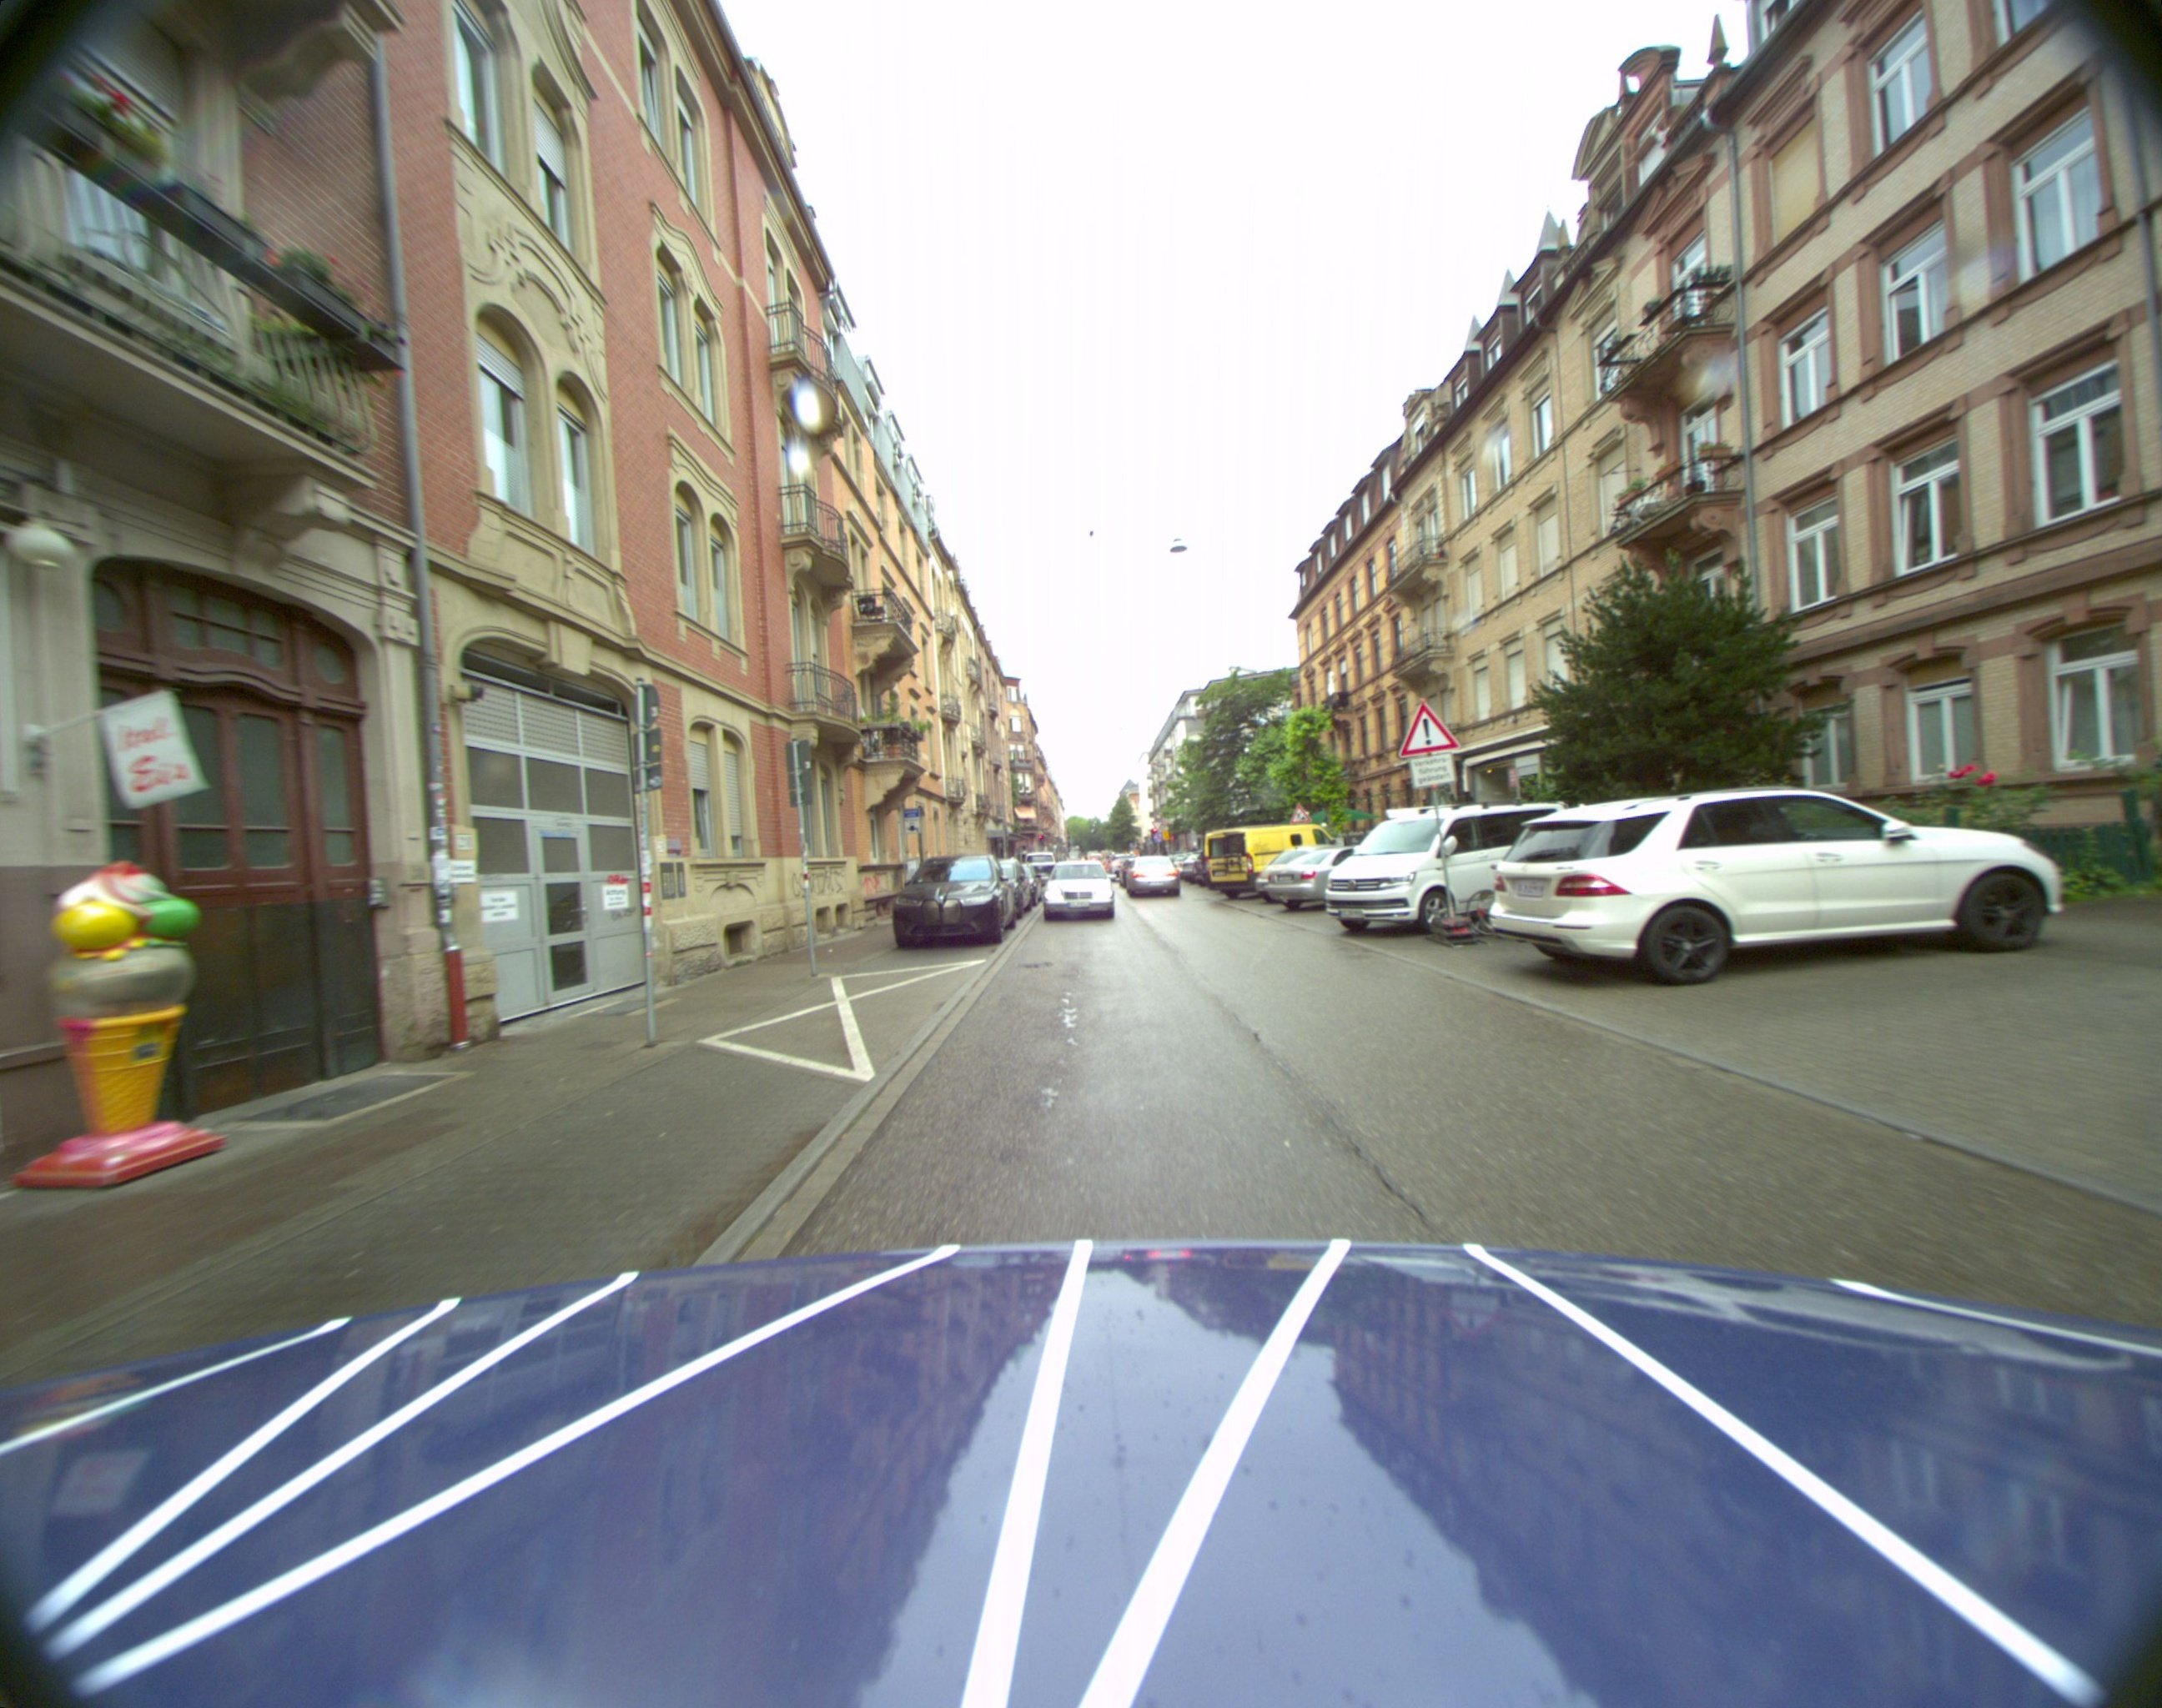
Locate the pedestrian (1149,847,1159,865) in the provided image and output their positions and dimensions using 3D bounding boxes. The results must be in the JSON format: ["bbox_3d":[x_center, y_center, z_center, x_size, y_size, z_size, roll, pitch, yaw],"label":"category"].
[{"bbox_3d":[7.752,0.191,80.831,0.862,1.837,0.770,-4,0,9],"label":"pedestrian"}]

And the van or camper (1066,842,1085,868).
[{"bbox_3d":[-0.833,0.164,107.794,2.411,3.308,7.073,-4,0,-1],"label":"van or camper"}]

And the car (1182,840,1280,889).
[{"bbox_3d":[6.626,0.439,33.385,4.143,1.653,1.797,-7,3,-36],"label":"car"}]

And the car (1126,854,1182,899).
[{"bbox_3d":[2.715,0.838,29.119,1.799,1.485,4.584,-4,-1,2],"label":"car"}]

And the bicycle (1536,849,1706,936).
[{"bbox_3d":[7.996,0.568,11.372,0.408,1.168,2.040,-4,0,-30],"label":"bicycle"}]

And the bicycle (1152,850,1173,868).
[{"bbox_3d":[5.228,0.324,48.805,0.400,1.137,1.679,-5,1,-25],"label":"bicycle"}]

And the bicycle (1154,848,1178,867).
[{"bbox_3d":[5.492,0.258,49.044,0.588,1.137,1.679,-5,1,-28],"label":"bicycle"}]

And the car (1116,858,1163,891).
[{"bbox_3d":[2.797,1.012,37.412,1.800,1.484,4.138,2,-2,-2],"label":"car"}]

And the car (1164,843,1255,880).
[{"bbox_3d":[7.164,0.416,42.195,4.731,1.554,1.996,-6,0,-33],"label":"car"}]

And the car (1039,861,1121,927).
[{"bbox_3d":[0.023,0.967,20.503,1.859,1.390,4.980,-3,0,1],"label":"car"}]

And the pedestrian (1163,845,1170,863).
[{"bbox_3d":[8.956,0.040,79.738,0.604,1.837,0.770,-4,0,9],"label":"pedestrian"}]

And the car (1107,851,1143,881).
[{"bbox_3d":[2.655,0.728,46.833,1.863,1.650,5.008,-3,0,0],"label":"car"}]

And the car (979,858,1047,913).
[{"bbox_3d":[-2.248,1.015,26.219,1.791,1.458,4.482,-3,2,1],"label":"car"}]

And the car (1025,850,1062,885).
[{"bbox_3d":[-2.208,0.753,45.598,1.999,1.927,5.229,-2,0,-2],"label":"car"}]

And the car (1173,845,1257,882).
[{"bbox_3d":[6.994,0.473,39.567,4.143,1.485,1.797,-7,3,-35],"label":"car"}]

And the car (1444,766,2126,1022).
[{"bbox_3d":[6.739,0.347,7.875,4.590,1.775,2.545,-6,0,0],"label":"car"}]

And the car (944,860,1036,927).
[{"bbox_3d":[-2.389,0.985,20.992,1.876,1.552,4.345,-2,0,1],"label":"car"}]

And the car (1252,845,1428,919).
[{"bbox_3d":[6.392,0.642,18.702,4.005,1.427,1.781,-4,1,-28],"label":"car"}]

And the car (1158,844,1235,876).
[{"bbox_3d":[7.158,0.374,47.015,4.464,1.555,1.995,-6,3,-36],"label":"car"}]

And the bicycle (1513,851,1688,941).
[{"bbox_3d":[7.575,0.599,11.209,0.545,1.168,2.040,-4,0,-30],"label":"bicycle"}]

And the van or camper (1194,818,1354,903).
[{"bbox_3d":[6.288,0.193,24.646,4.733,2.254,2.180,-6,0,-32],"label":"van or camper"}]

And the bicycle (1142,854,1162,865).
[{"bbox_3d":[7.558,0.600,80.750,1.896,1.028,0.661,-6,0,-14],"label":"bicycle"}]

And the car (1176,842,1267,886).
[{"bbox_3d":[6.770,0.473,36.546,4.143,1.652,1.797,-7,2,-36],"label":"car"}]

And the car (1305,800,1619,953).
[{"bbox_3d":[6.658,0.276,13.182,5.258,2.066,1.866,-4,1,-24],"label":"car"}]

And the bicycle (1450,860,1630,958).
[{"bbox_3d":[6.168,0.712,10.358,0.545,1.168,2.040,-4,0,-30],"label":"bicycle"}]

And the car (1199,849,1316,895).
[{"bbox_3d":[6.490,0.638,27.878,4.006,1.486,1.823,-2,-1,-31],"label":"car"}]

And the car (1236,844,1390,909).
[{"bbox_3d":[6.605,0.590,21.600,3.924,1.486,1.959,-4,1,-30],"label":"car"}]

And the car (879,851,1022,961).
[{"bbox_3d":[-2.398,0.880,15.308,1.999,1.769,4.825,-3,0,-1],"label":"car"}]

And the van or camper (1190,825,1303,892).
[{"bbox_3d":[6.708,0.137,30.657,4.089,2.227,1.932,-7,3,-32],"label":"van or camper"}]
